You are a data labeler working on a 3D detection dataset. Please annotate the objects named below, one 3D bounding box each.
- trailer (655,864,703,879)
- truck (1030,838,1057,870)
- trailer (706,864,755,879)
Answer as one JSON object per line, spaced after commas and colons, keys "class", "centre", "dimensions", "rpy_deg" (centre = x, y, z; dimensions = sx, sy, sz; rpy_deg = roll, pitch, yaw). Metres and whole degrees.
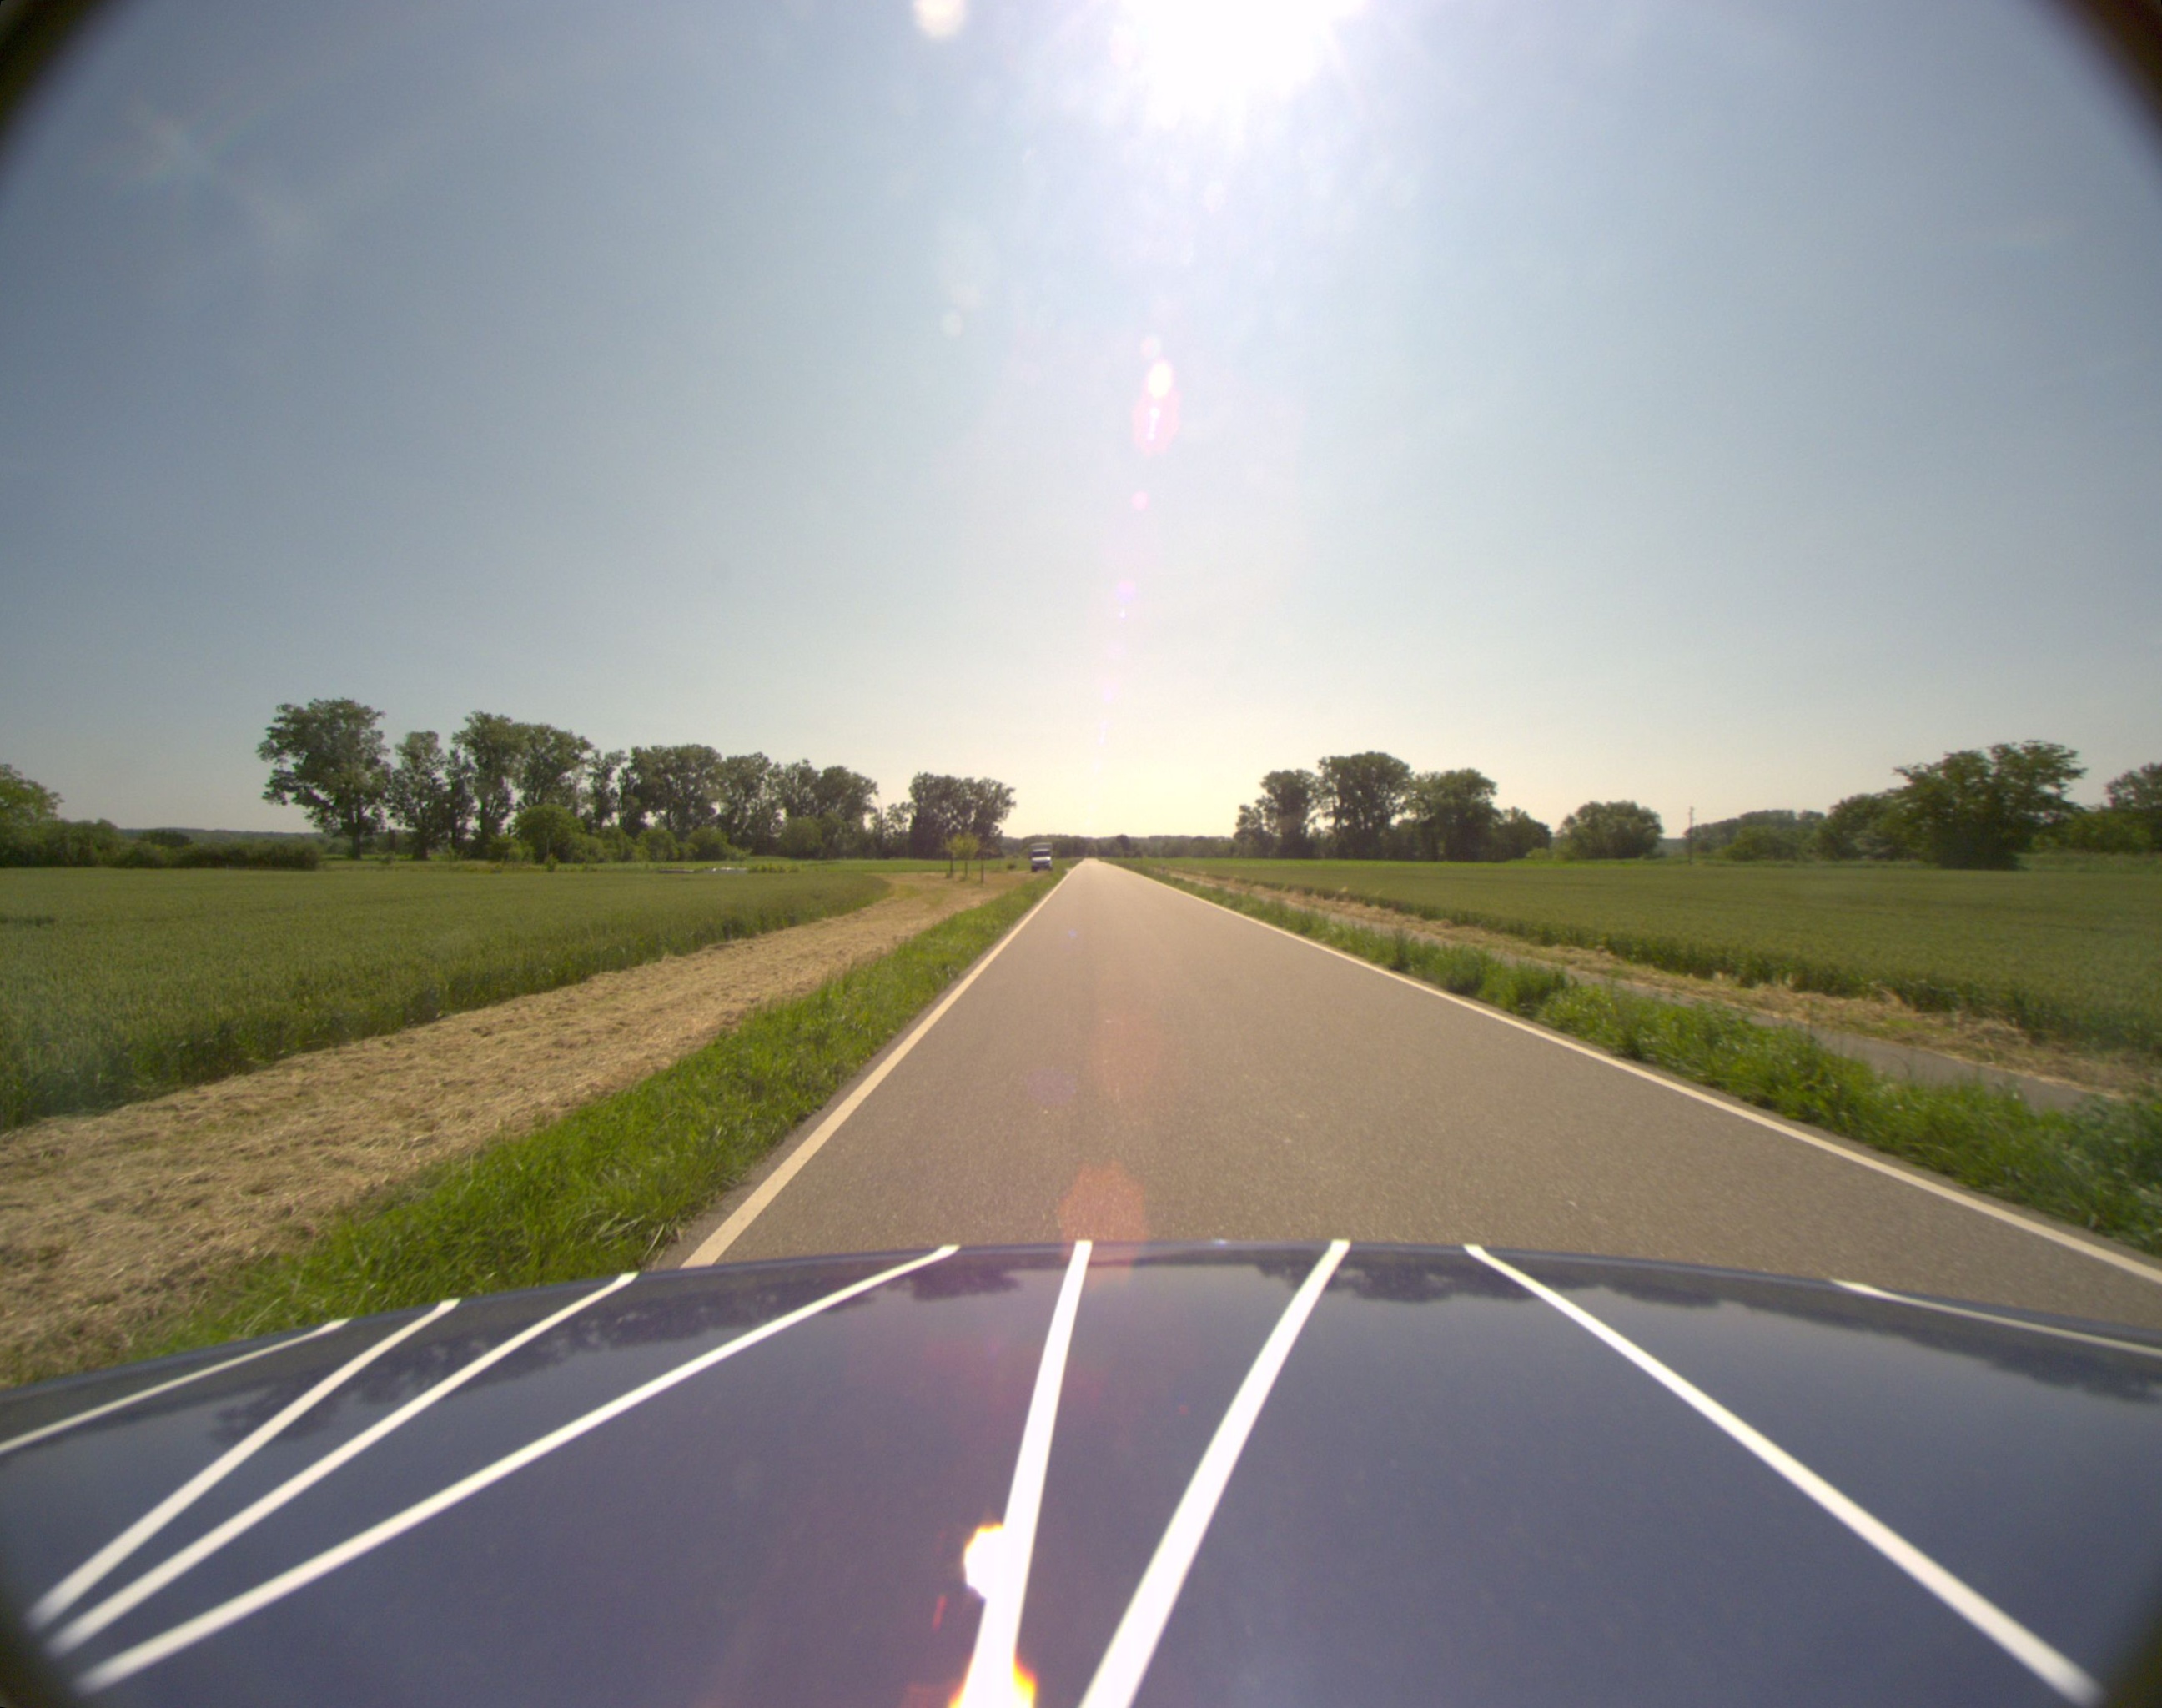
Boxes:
{"class": "trailer", "centre": [-35.971, 1.563, 68.033], "dimensions": [3.543, 1.182, 1.665], "rpy_deg": [-1, 1, 13]}
{"class": "truck", "centre": [-3.710, -0.052, 76.750], "dimensions": [2.342, 2.925, 7.007], "rpy_deg": [-3, 1, -1]}
{"class": "trailer", "centre": [-30.909, 1.557, 66.977], "dimensions": [3.591, 1.182, 1.665], "rpy_deg": [-2, 1, 13]}
